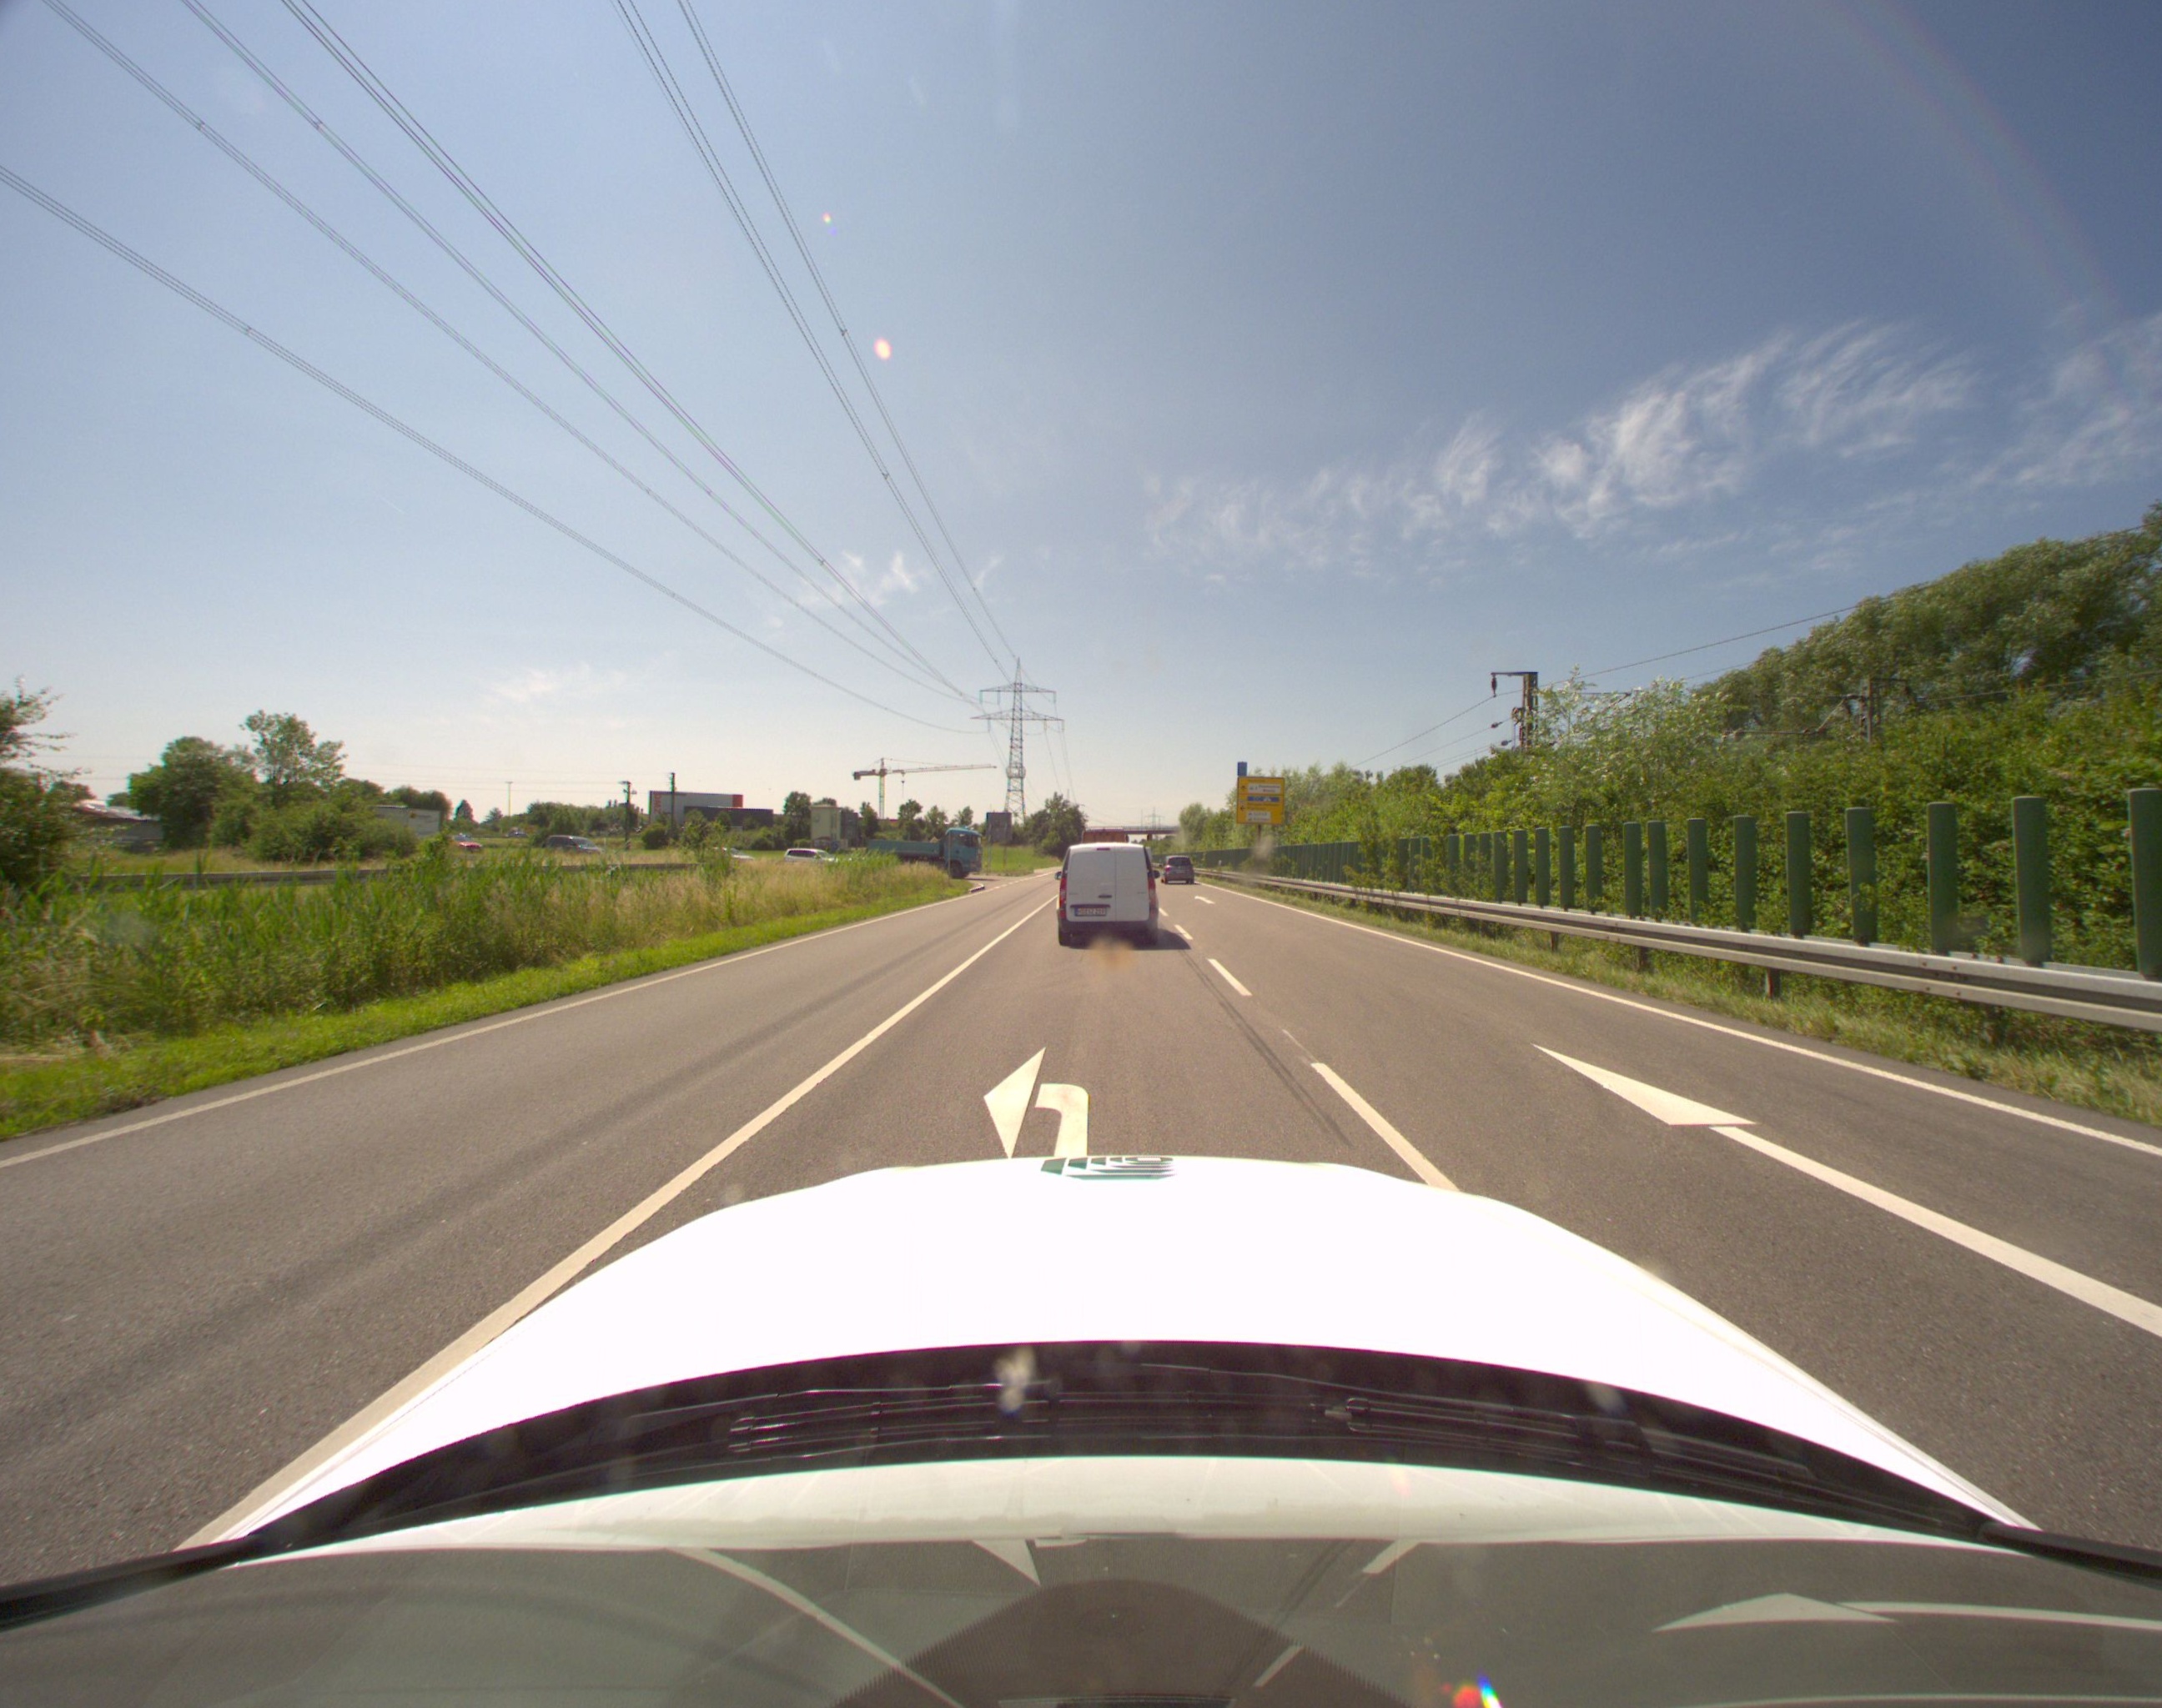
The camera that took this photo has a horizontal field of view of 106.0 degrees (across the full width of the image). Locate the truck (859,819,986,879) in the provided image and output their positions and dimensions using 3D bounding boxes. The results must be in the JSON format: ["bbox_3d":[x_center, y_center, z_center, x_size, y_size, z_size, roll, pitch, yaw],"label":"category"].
[{"bbox_3d":[-10.696,-0.342,55.340,7.868,3.734,2.501,2,0,4],"label":"truck"}]

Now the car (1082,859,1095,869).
[{"bbox_3d":[1.128,1.507,123.257,1.718,1.441,4.251,2,0,2],"label":"car"}]

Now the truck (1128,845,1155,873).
[{"bbox_3d":[6.120,0.506,82.674,2.365,2.689,8.013,1,0,2],"label":"truck"}]

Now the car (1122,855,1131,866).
[{"bbox_3d":[8.265,1.148,147.261,1.553,2.014,3.590,1,0,2],"label":"car"}]

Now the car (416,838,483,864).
[{"bbox_3d":[-48.490,-0.234,62.546,4.432,1.849,1.925,1,0,19],"label":"car"}]

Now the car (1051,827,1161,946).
[{"bbox_3d":[0.484,0.559,15.625,1.820,1.971,4.001,-1,0,2],"label":"car"}]

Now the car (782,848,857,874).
[{"bbox_3d":[-17.952,0.481,55.882,4.506,1.612,1.976,1,0,16],"label":"car"}]

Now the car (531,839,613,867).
[{"bbox_3d":[-37.168,-0.111,59.504,4.906,1.867,2.094,1,1,10],"label":"car"}]

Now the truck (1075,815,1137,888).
[{"bbox_3d":[1.191,-0.150,41.812,2.811,3.288,9.701,0,0,0],"label":"truck"}]

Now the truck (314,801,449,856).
[{"bbox_3d":[-63.231,-2.196,73.537,13.080,4.646,3.710,0,0,23],"label":"truck"}]

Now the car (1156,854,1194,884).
[{"bbox_3d":[5.323,0.830,46.291,1.841,1.574,4.002,-1,0,2],"label":"car"}]
